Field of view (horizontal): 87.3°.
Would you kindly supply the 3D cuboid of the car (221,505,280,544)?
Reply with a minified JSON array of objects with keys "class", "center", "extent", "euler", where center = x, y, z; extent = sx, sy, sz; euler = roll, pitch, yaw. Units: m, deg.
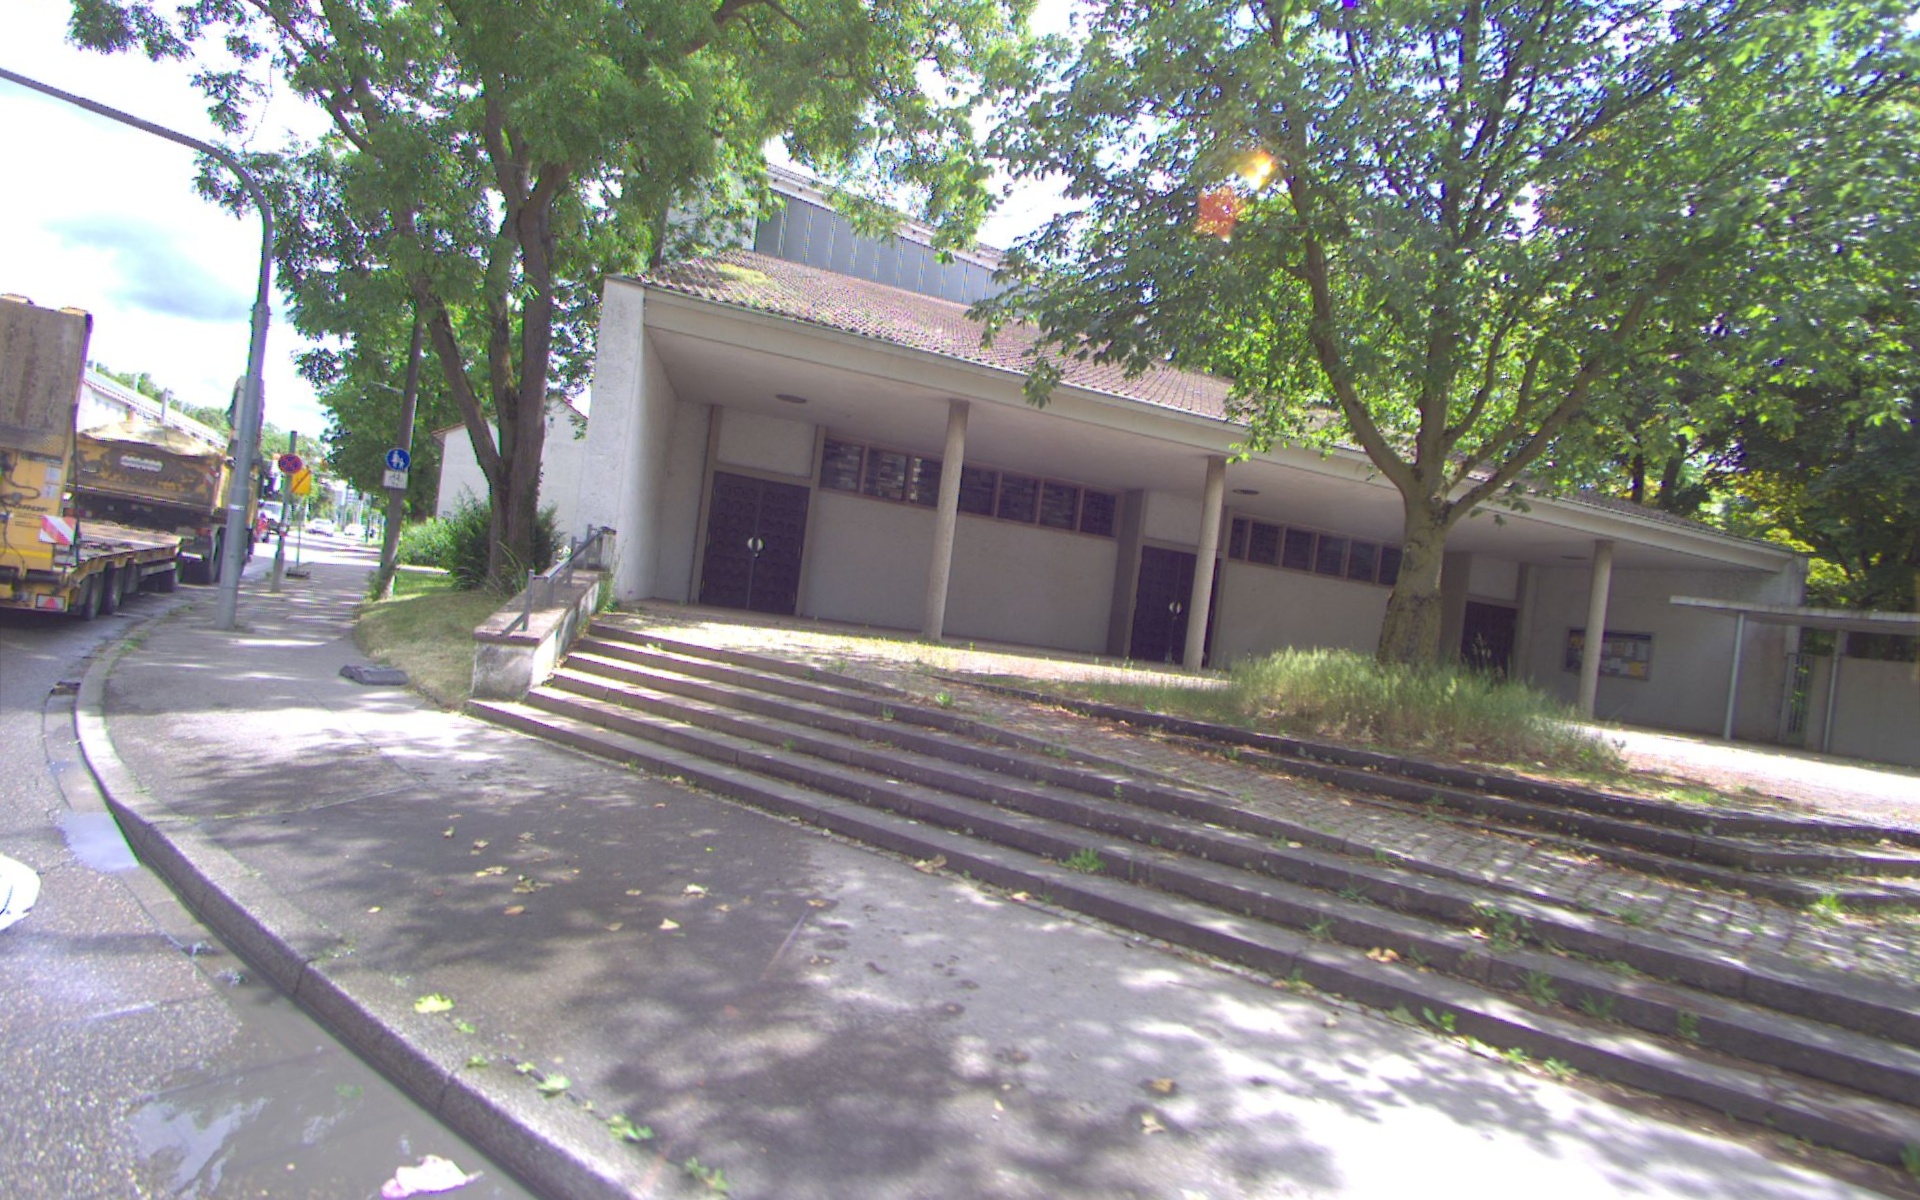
[{"class":"car","center":[-36.026,-3.788,51.202],"extent":[1.828,1.638,4.211],"euler":[7,0,-28]}]

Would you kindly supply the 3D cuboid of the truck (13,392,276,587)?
[{"class":"truck","center":[-17.946,-2.275,22.791],"extent":[2.896,3.204,7.623],"euler":[9,-1,-29]}]

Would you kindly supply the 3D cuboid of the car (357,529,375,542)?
[{"class":"car","center":[-81.928,-8.866,138.725],"extent":[1.664,1.468,4.047],"euler":[6,0,-26]}]

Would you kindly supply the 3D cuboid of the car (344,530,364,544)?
[{"class":"car","center":[-75.770,-7.886,125.780],"extent":[1.637,1.538,3.839],"euler":[9,-1,-27]}]

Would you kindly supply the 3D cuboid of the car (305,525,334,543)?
[{"class":"car","center":[-62.204,-6.383,97.744],"extent":[1.863,1.499,4.497],"euler":[7,0,-27]}]

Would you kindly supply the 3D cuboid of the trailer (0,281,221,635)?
[{"class":"trailer","center":[-13.364,-1.843,14.718],"extent":[2.803,3.566,10.961],"euler":[8,-1,-31]}]
